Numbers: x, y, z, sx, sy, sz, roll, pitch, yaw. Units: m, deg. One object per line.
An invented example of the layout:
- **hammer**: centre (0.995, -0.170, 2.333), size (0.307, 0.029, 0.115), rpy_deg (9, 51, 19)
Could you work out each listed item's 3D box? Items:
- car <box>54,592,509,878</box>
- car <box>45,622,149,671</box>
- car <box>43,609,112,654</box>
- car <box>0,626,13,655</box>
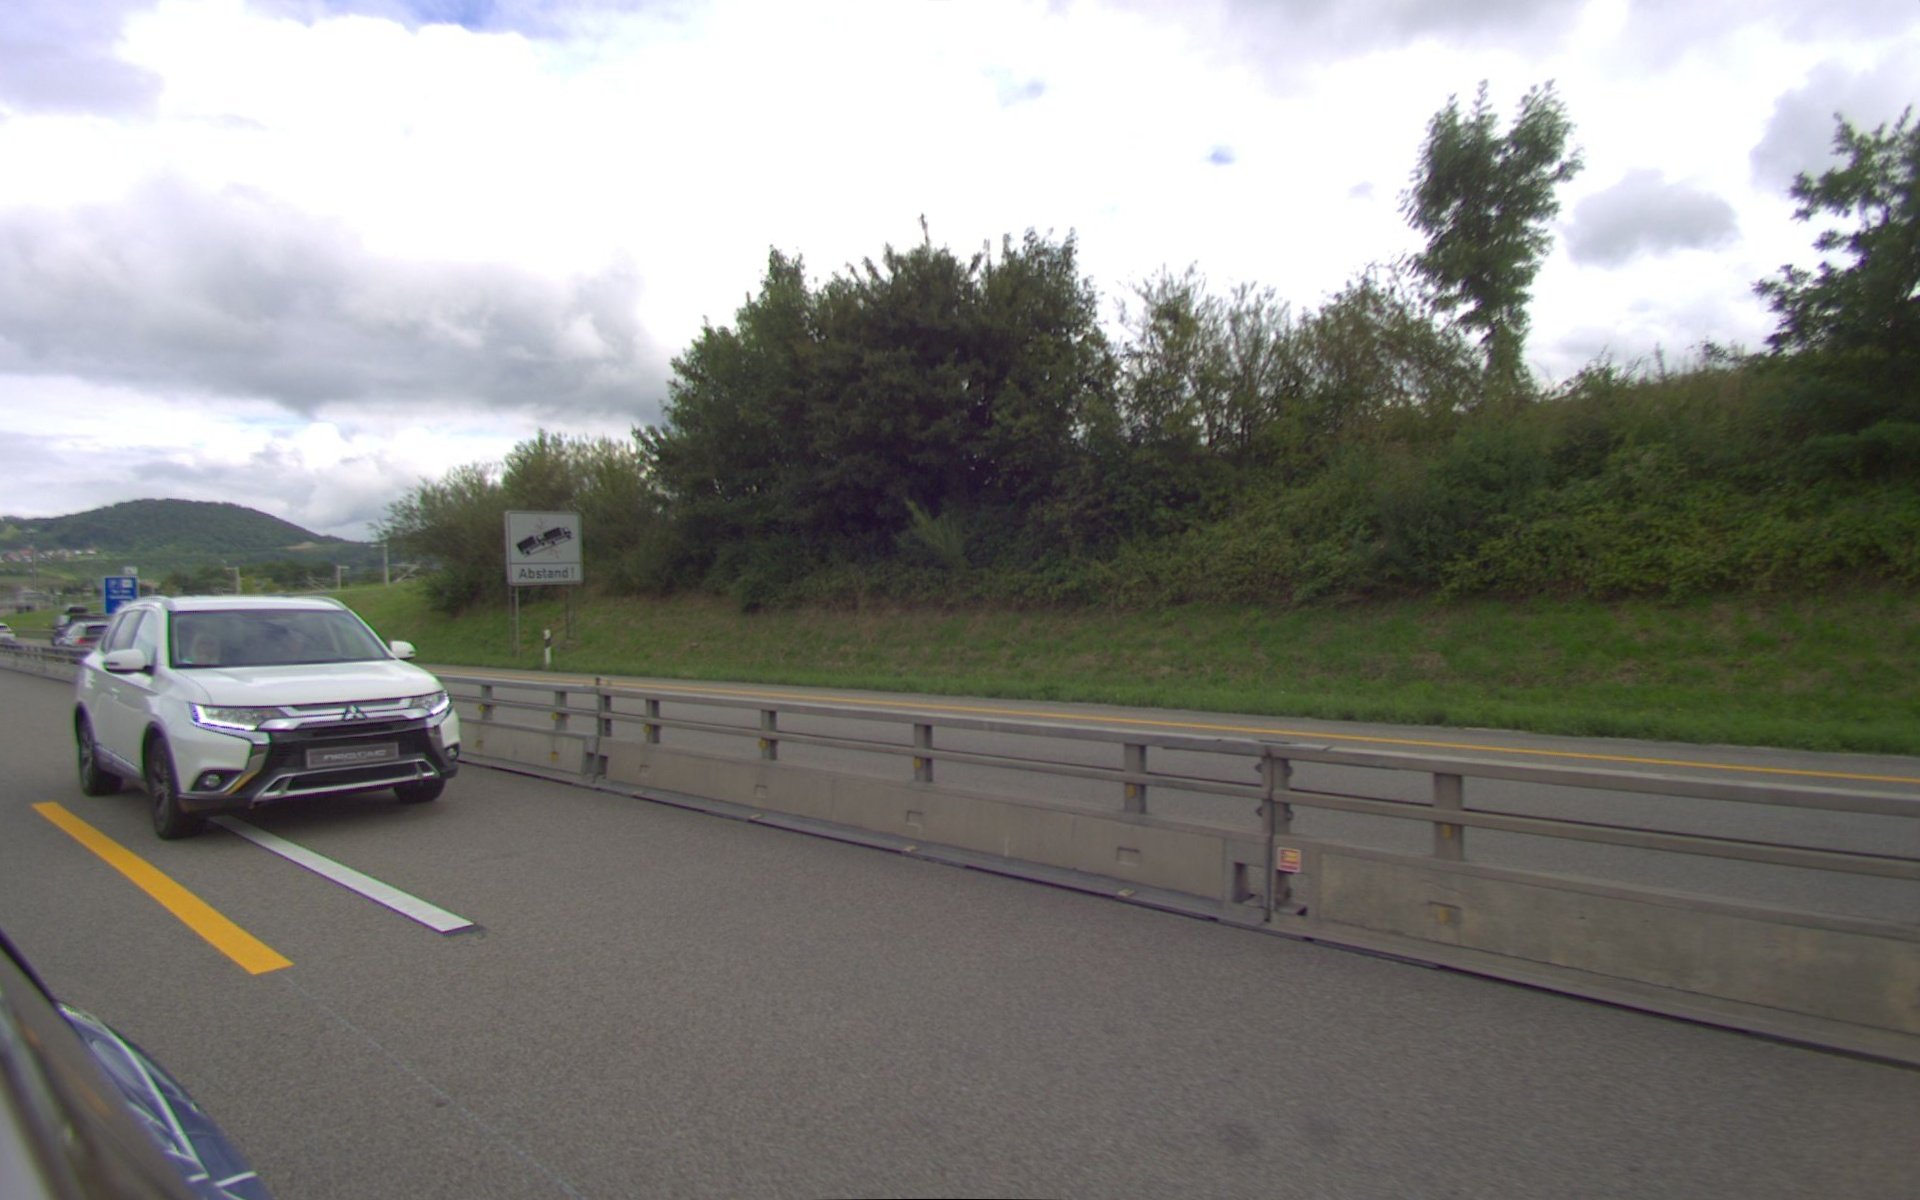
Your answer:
- **car**: centre (-5.609, 0.820, 8.090), size (4.606, 1.640, 1.972), rpy_deg (-2, -1, 42)
- **car**: centre (-29.426, 1.531, 34.448), size (4.950, 1.532, 1.973), rpy_deg (-2, -1, 41)
- **car**: centre (-46.825, 1.664, 53.677), size (5.045, 2.270, 1.974), rpy_deg (-2, 0, 40)
- **car**: centre (-53.275, 2.220, 55.133), size (4.666, 1.532, 1.973), rpy_deg (-2, -1, 41)
